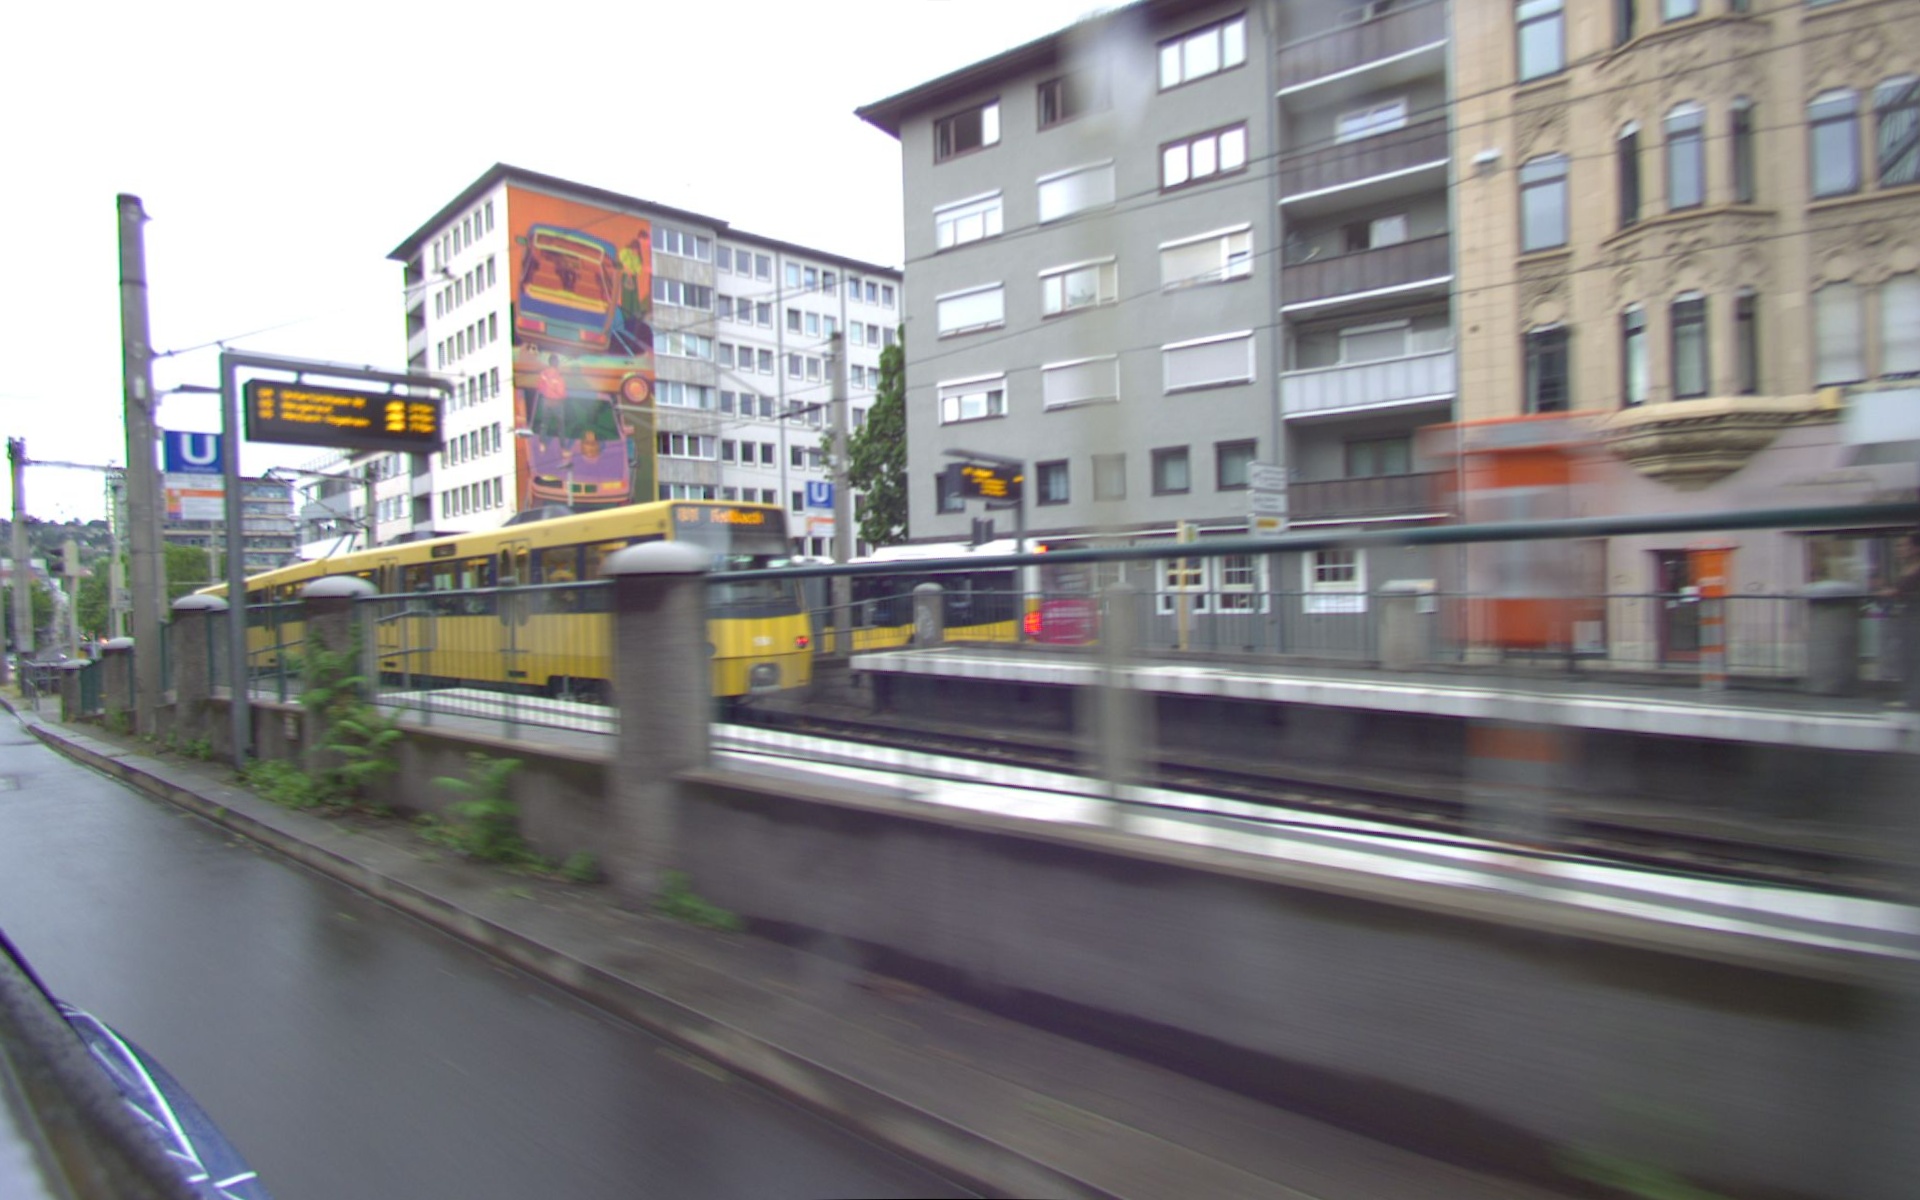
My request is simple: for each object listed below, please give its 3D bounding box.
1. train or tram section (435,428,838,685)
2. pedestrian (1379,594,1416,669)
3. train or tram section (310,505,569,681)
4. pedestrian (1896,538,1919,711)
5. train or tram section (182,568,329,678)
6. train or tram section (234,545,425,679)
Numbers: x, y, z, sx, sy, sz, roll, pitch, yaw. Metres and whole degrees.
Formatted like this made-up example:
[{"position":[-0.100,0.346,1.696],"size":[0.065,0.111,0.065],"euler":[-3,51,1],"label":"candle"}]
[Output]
[{"position":[-6.551,-0.452,19.005],"size":[9.716,3.719,2.748],"euler":[-4,0,44],"label":"train or tram section"},{"position":[10.036,0.719,23.221],"size":[0.416,1.695,0.609],"euler":[-3,0,-38],"label":"pedestrian"},{"position":[-13.490,0.028,25.655],"size":[9.511,3.719,2.748],"euler":[-4,0,44],"label":"train or tram section"},{"position":[8.853,0.211,9.161],"size":[0.516,1.549,0.552],"euler":[-1,0,41],"label":"pedestrian"},{"position":[-27.035,0.964,38.629],"size":[8.976,3.719,2.748],"euler":[-4,0,44],"label":"train or tram section"},{"position":[-20.324,0.501,32.276],"size":[9.511,3.719,2.748],"euler":[-4,0,44],"label":"train or tram section"}]
